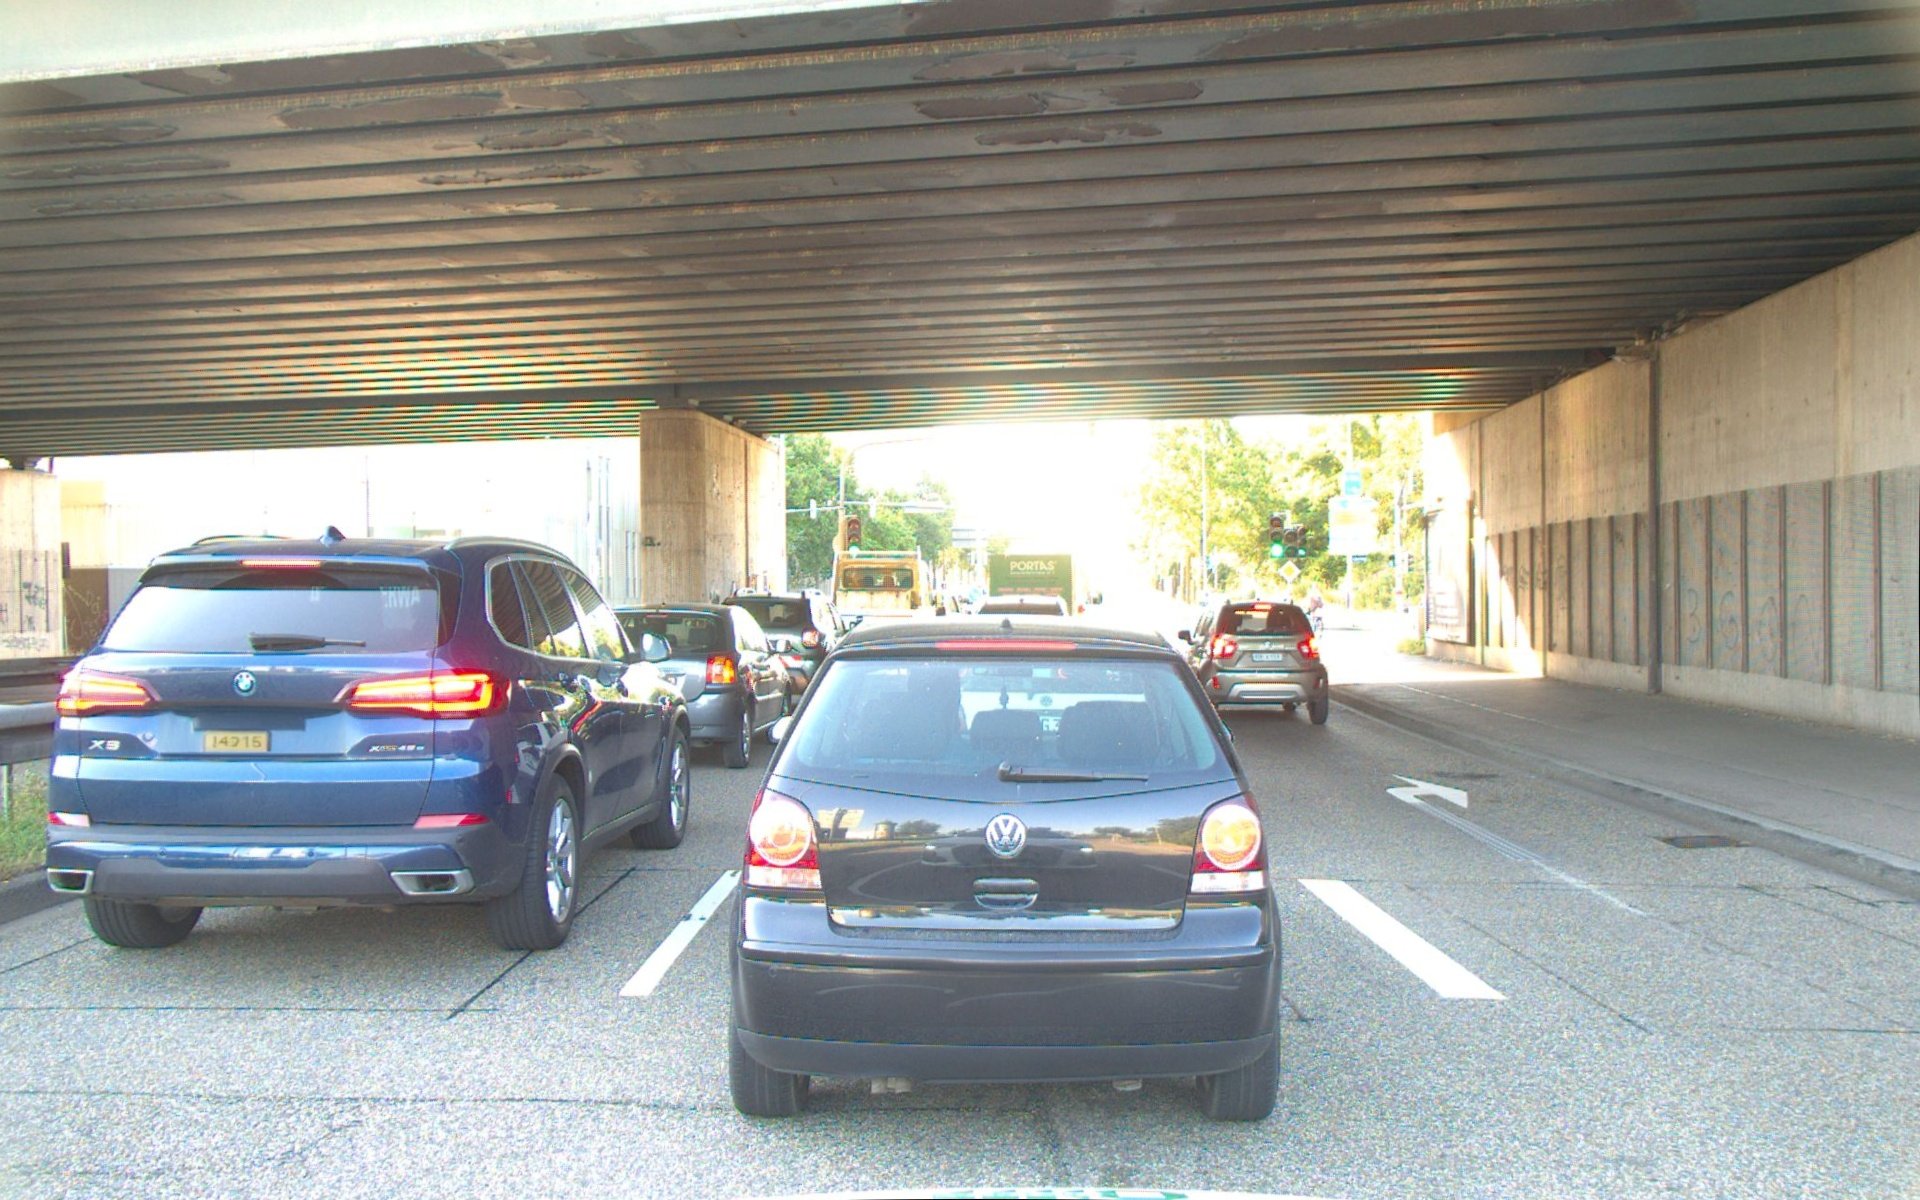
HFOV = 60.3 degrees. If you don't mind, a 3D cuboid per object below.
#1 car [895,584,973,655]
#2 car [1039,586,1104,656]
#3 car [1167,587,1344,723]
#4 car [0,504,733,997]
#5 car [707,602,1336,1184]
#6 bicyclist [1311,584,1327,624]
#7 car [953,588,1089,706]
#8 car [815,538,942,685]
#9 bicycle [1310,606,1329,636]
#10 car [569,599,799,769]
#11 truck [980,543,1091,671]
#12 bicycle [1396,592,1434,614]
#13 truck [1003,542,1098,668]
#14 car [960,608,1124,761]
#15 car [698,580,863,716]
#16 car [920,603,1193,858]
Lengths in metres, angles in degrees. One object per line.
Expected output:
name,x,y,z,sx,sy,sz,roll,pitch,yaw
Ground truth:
car,-0.624,0.489,42.146,1.582,1.709,3.685,1,0,5
car,2.912,0.522,42.733,1.582,1.709,3.685,1,0,5
car,3.923,0.690,22.538,1.701,1.659,4.062,1,0,0
car,-2.528,0.555,8.319,1.952,1.764,4.534,1,0,2
car,0.294,0.745,6.052,1.582,1.434,3.685,1,0,5
bicyclist,11.443,0.130,52.712,0.418,1.254,0.460,-1,-1,6
car,0.986,0.651,24.760,1.758,1.586,4.003,1,0,6
car,-1.500,0.222,32.368,2.092,2.621,5.087,1,0,1
bicycle,11.443,0.659,52.675,0.428,0.930,1.027,-2,-1,6
car,-2.555,0.730,16.090,1.583,1.434,3.683,1,0,0
truck,1.566,0.143,32.965,1.954,2.356,4.003,1,0,6
bicycle,21.339,0.141,77.580,1.628,1.008,0.578,-1,3,23
truck,2.133,0.113,37.888,1.954,2.715,4.003,1,0,6
car,0.804,0.816,17.843,1.546,1.438,4.062,1,0,1
car,-2.416,0.624,23.088,1.582,1.709,3.685,1,0,5
car,0.573,0.757,11.527,1.546,1.438,4.062,1,0,1
